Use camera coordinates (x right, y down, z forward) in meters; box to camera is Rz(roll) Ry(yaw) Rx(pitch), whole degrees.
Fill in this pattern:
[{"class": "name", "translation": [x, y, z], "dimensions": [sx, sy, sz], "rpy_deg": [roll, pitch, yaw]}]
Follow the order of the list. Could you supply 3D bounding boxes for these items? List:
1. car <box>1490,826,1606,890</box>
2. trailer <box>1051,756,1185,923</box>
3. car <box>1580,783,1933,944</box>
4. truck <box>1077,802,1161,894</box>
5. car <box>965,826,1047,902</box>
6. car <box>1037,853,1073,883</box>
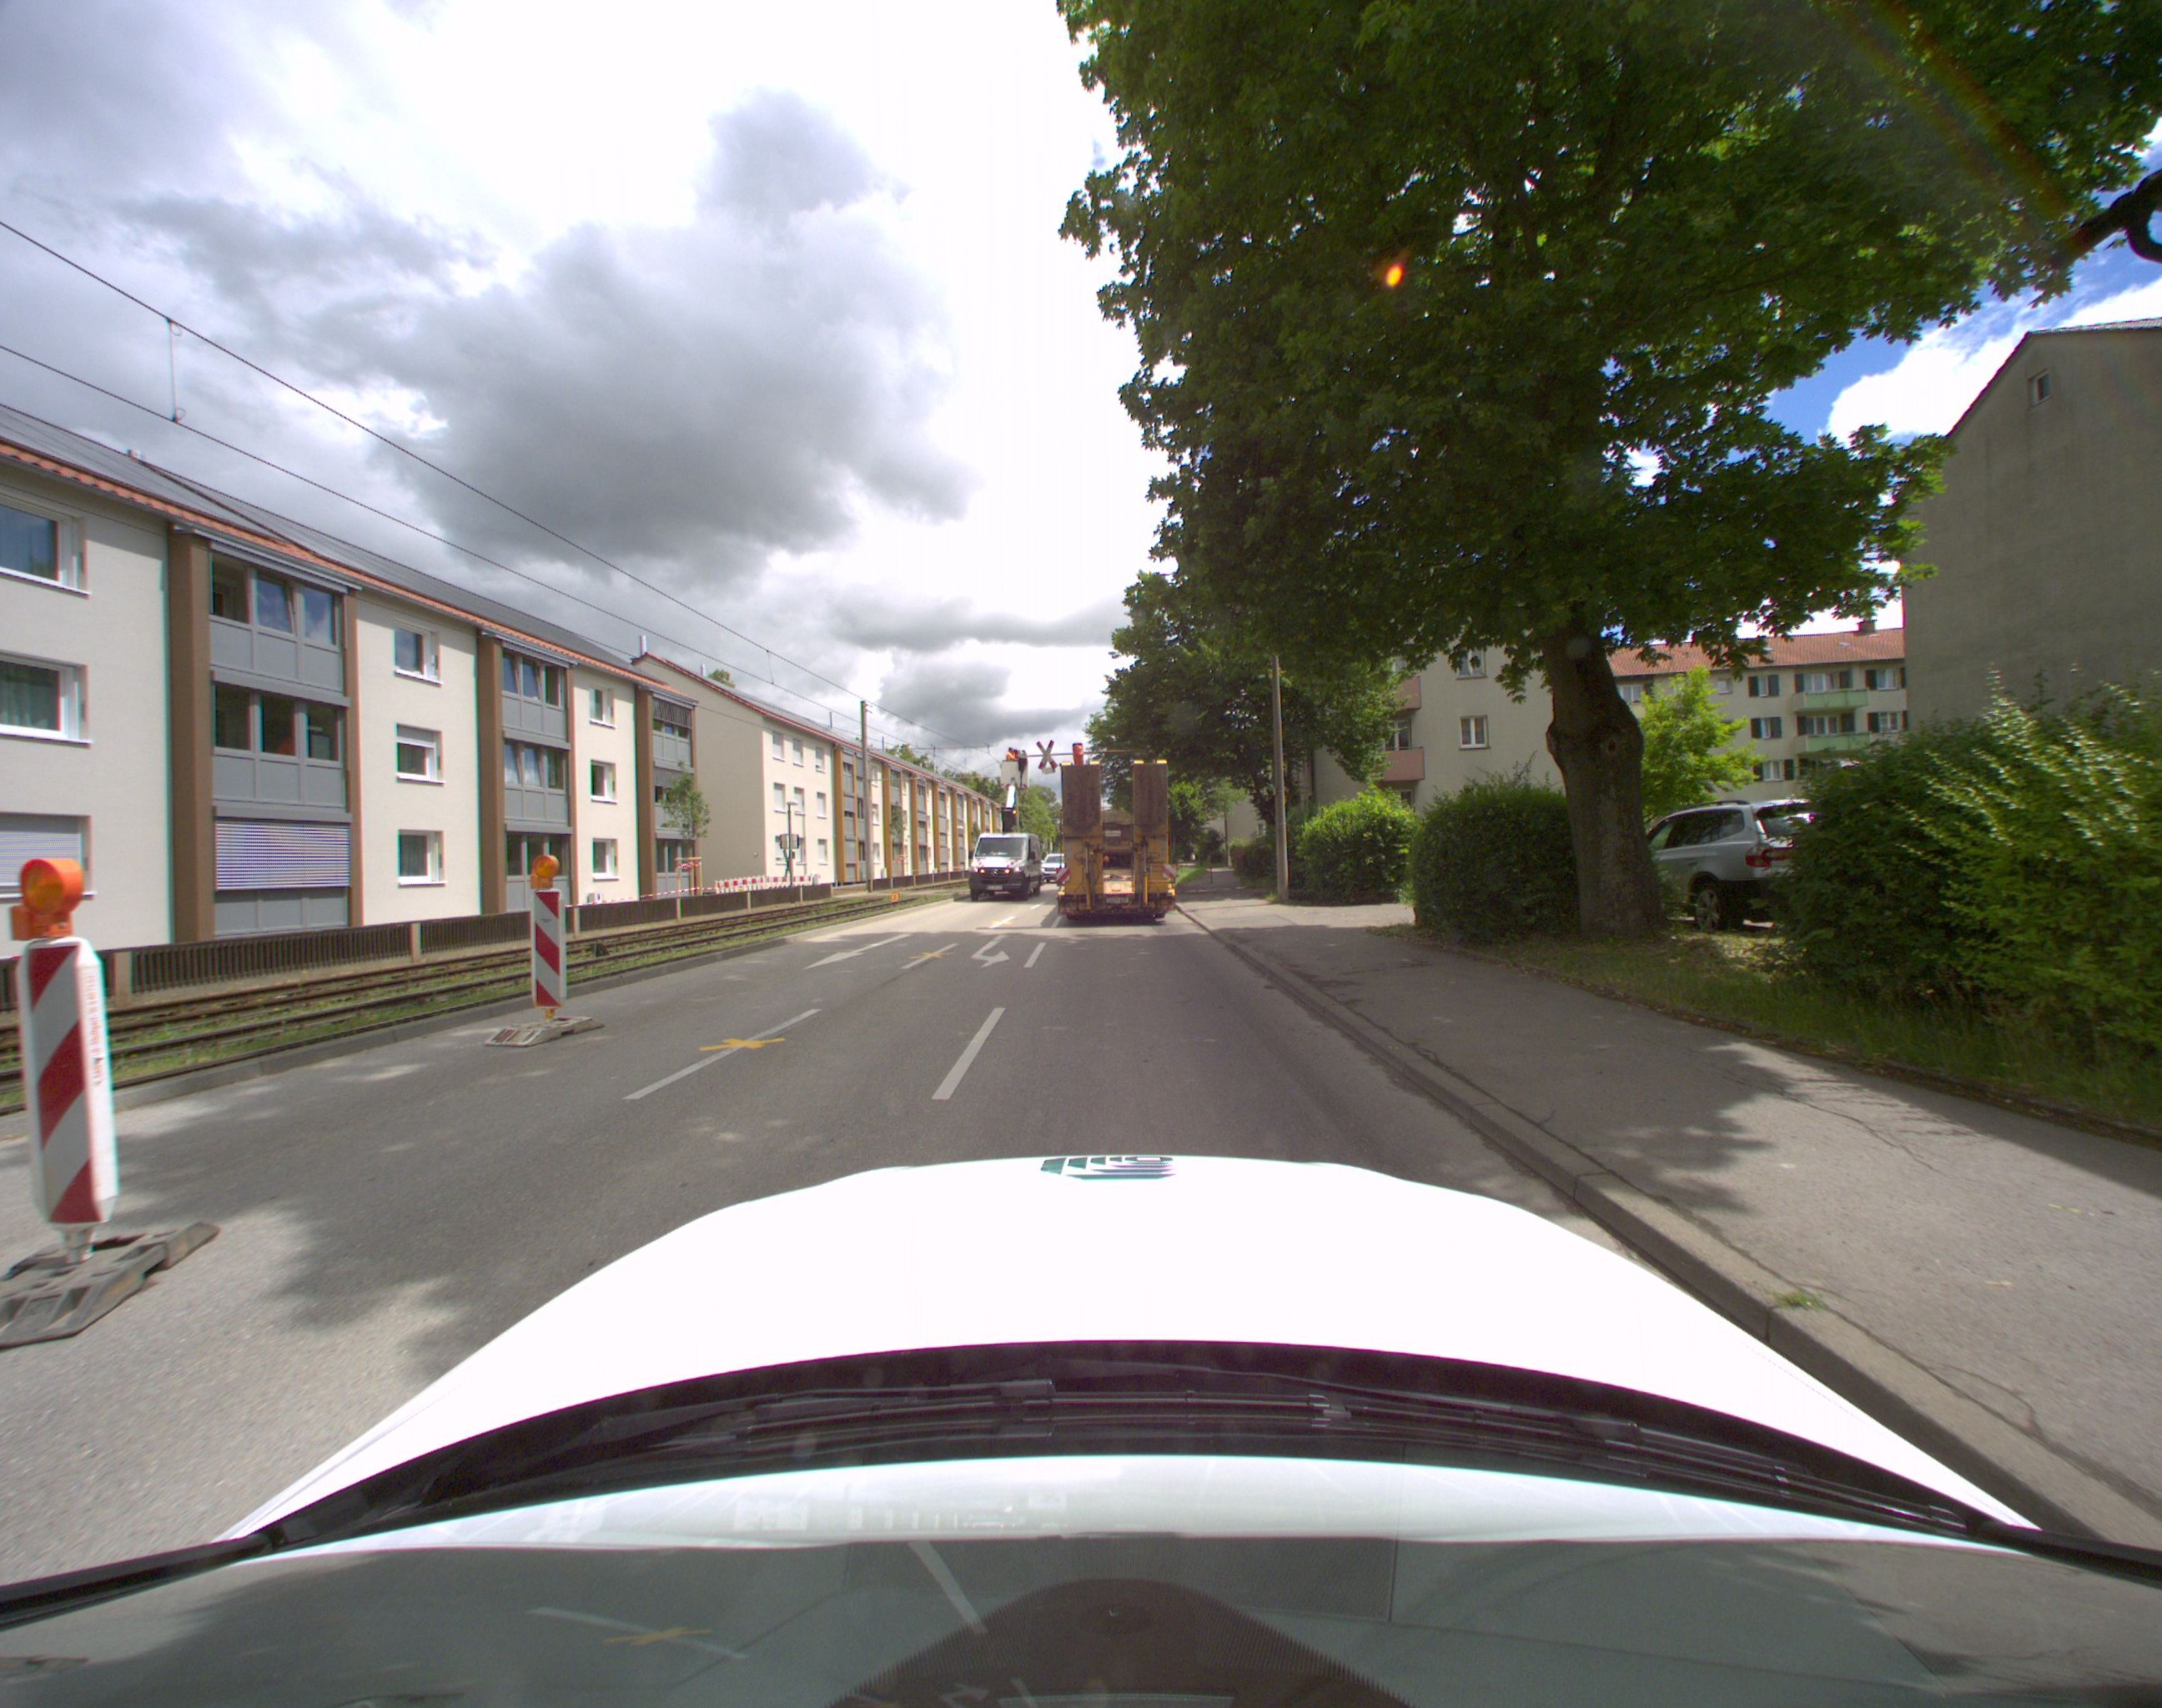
[{"class": "car", "translation": [12.269, 0.074, 21.632], "dimensions": [1.651, 1.480, 3.706], "rpy_deg": [-3, 0, 14]}, {"class": "trailer", "translation": [1.026, -0.317, 22.689], "dimensions": [2.811, 3.524, 11.059], "rpy_deg": [0, 0, 3]}, {"class": "car", "translation": [8.433, 0.113, 10.724], "dimensions": [1.800, 1.649, 4.012], "rpy_deg": [-3, -1, 10]}, {"class": "truck", "translation": [1.502, -0.219, 32.039], "dimensions": [2.905, 3.167, 7.686], "rpy_deg": [0, 0, 3]}, {"class": "car", "translation": [-2.569, 0.311, 29.579], "dimensions": [1.985, 2.430, 6.327], "rpy_deg": [-1, 0, 3]}, {"class": "car", "translation": [-1.377, 0.737, 44.385], "dimensions": [1.711, 1.552, 3.919], "rpy_deg": [-1, 0, 2]}]
